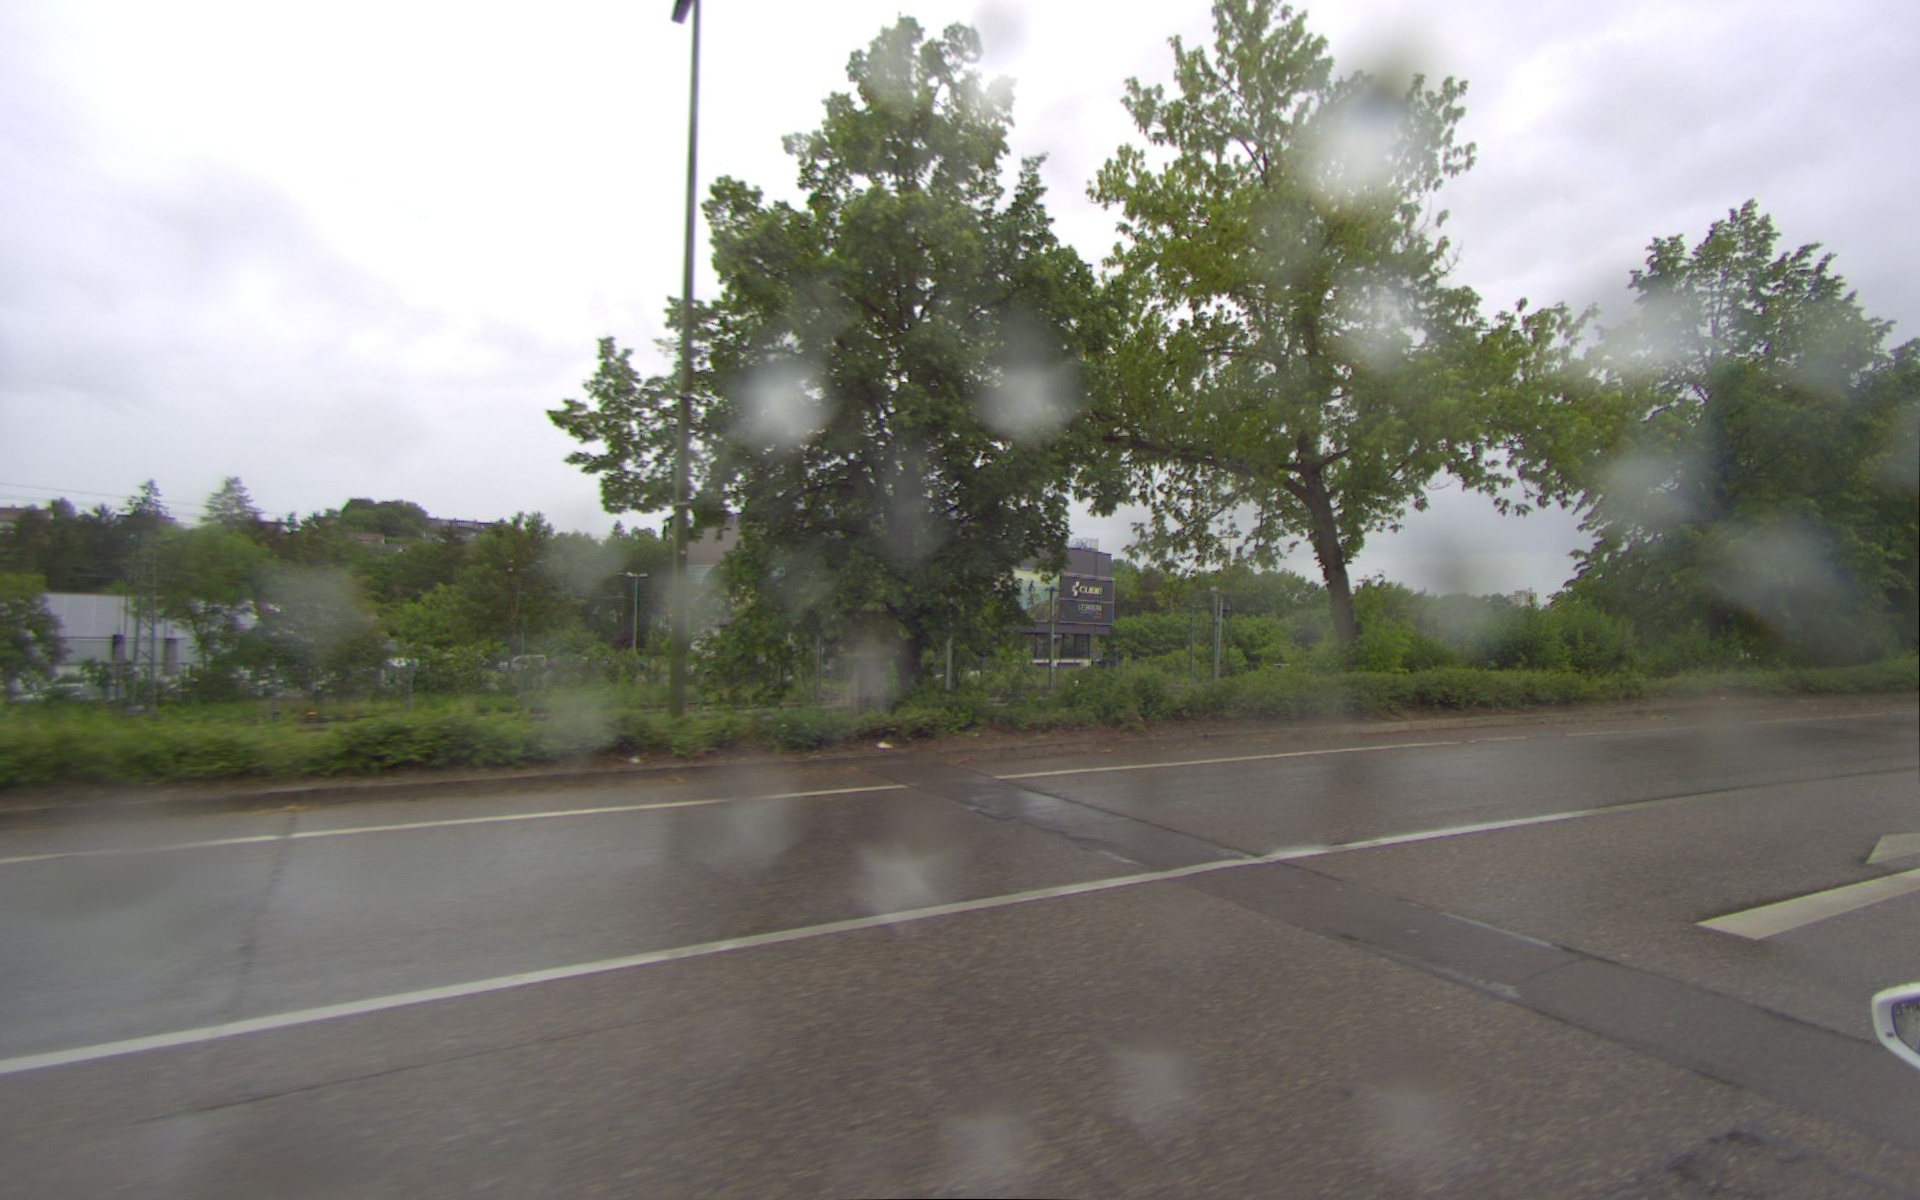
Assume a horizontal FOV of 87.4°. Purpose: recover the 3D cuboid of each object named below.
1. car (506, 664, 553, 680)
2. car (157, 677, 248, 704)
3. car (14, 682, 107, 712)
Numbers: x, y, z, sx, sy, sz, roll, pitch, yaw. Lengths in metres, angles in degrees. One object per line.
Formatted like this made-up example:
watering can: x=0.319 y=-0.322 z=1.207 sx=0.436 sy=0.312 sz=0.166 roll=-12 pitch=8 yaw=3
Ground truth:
car: x=-40.258 y=6.768 z=93.955 sx=3.951 sy=1.428 sz=1.788 roll=1 pitch=-4 yaw=-29
car: x=-43.729 y=5.211 z=58.046 sx=1.775 sy=1.428 sz=3.978 roll=-4 pitch=-5 yaw=42
car: x=-48.011 y=5.155 z=53.706 sx=3.544 sy=1.428 sz=1.780 roll=2 pitch=-4 yaw=-40
